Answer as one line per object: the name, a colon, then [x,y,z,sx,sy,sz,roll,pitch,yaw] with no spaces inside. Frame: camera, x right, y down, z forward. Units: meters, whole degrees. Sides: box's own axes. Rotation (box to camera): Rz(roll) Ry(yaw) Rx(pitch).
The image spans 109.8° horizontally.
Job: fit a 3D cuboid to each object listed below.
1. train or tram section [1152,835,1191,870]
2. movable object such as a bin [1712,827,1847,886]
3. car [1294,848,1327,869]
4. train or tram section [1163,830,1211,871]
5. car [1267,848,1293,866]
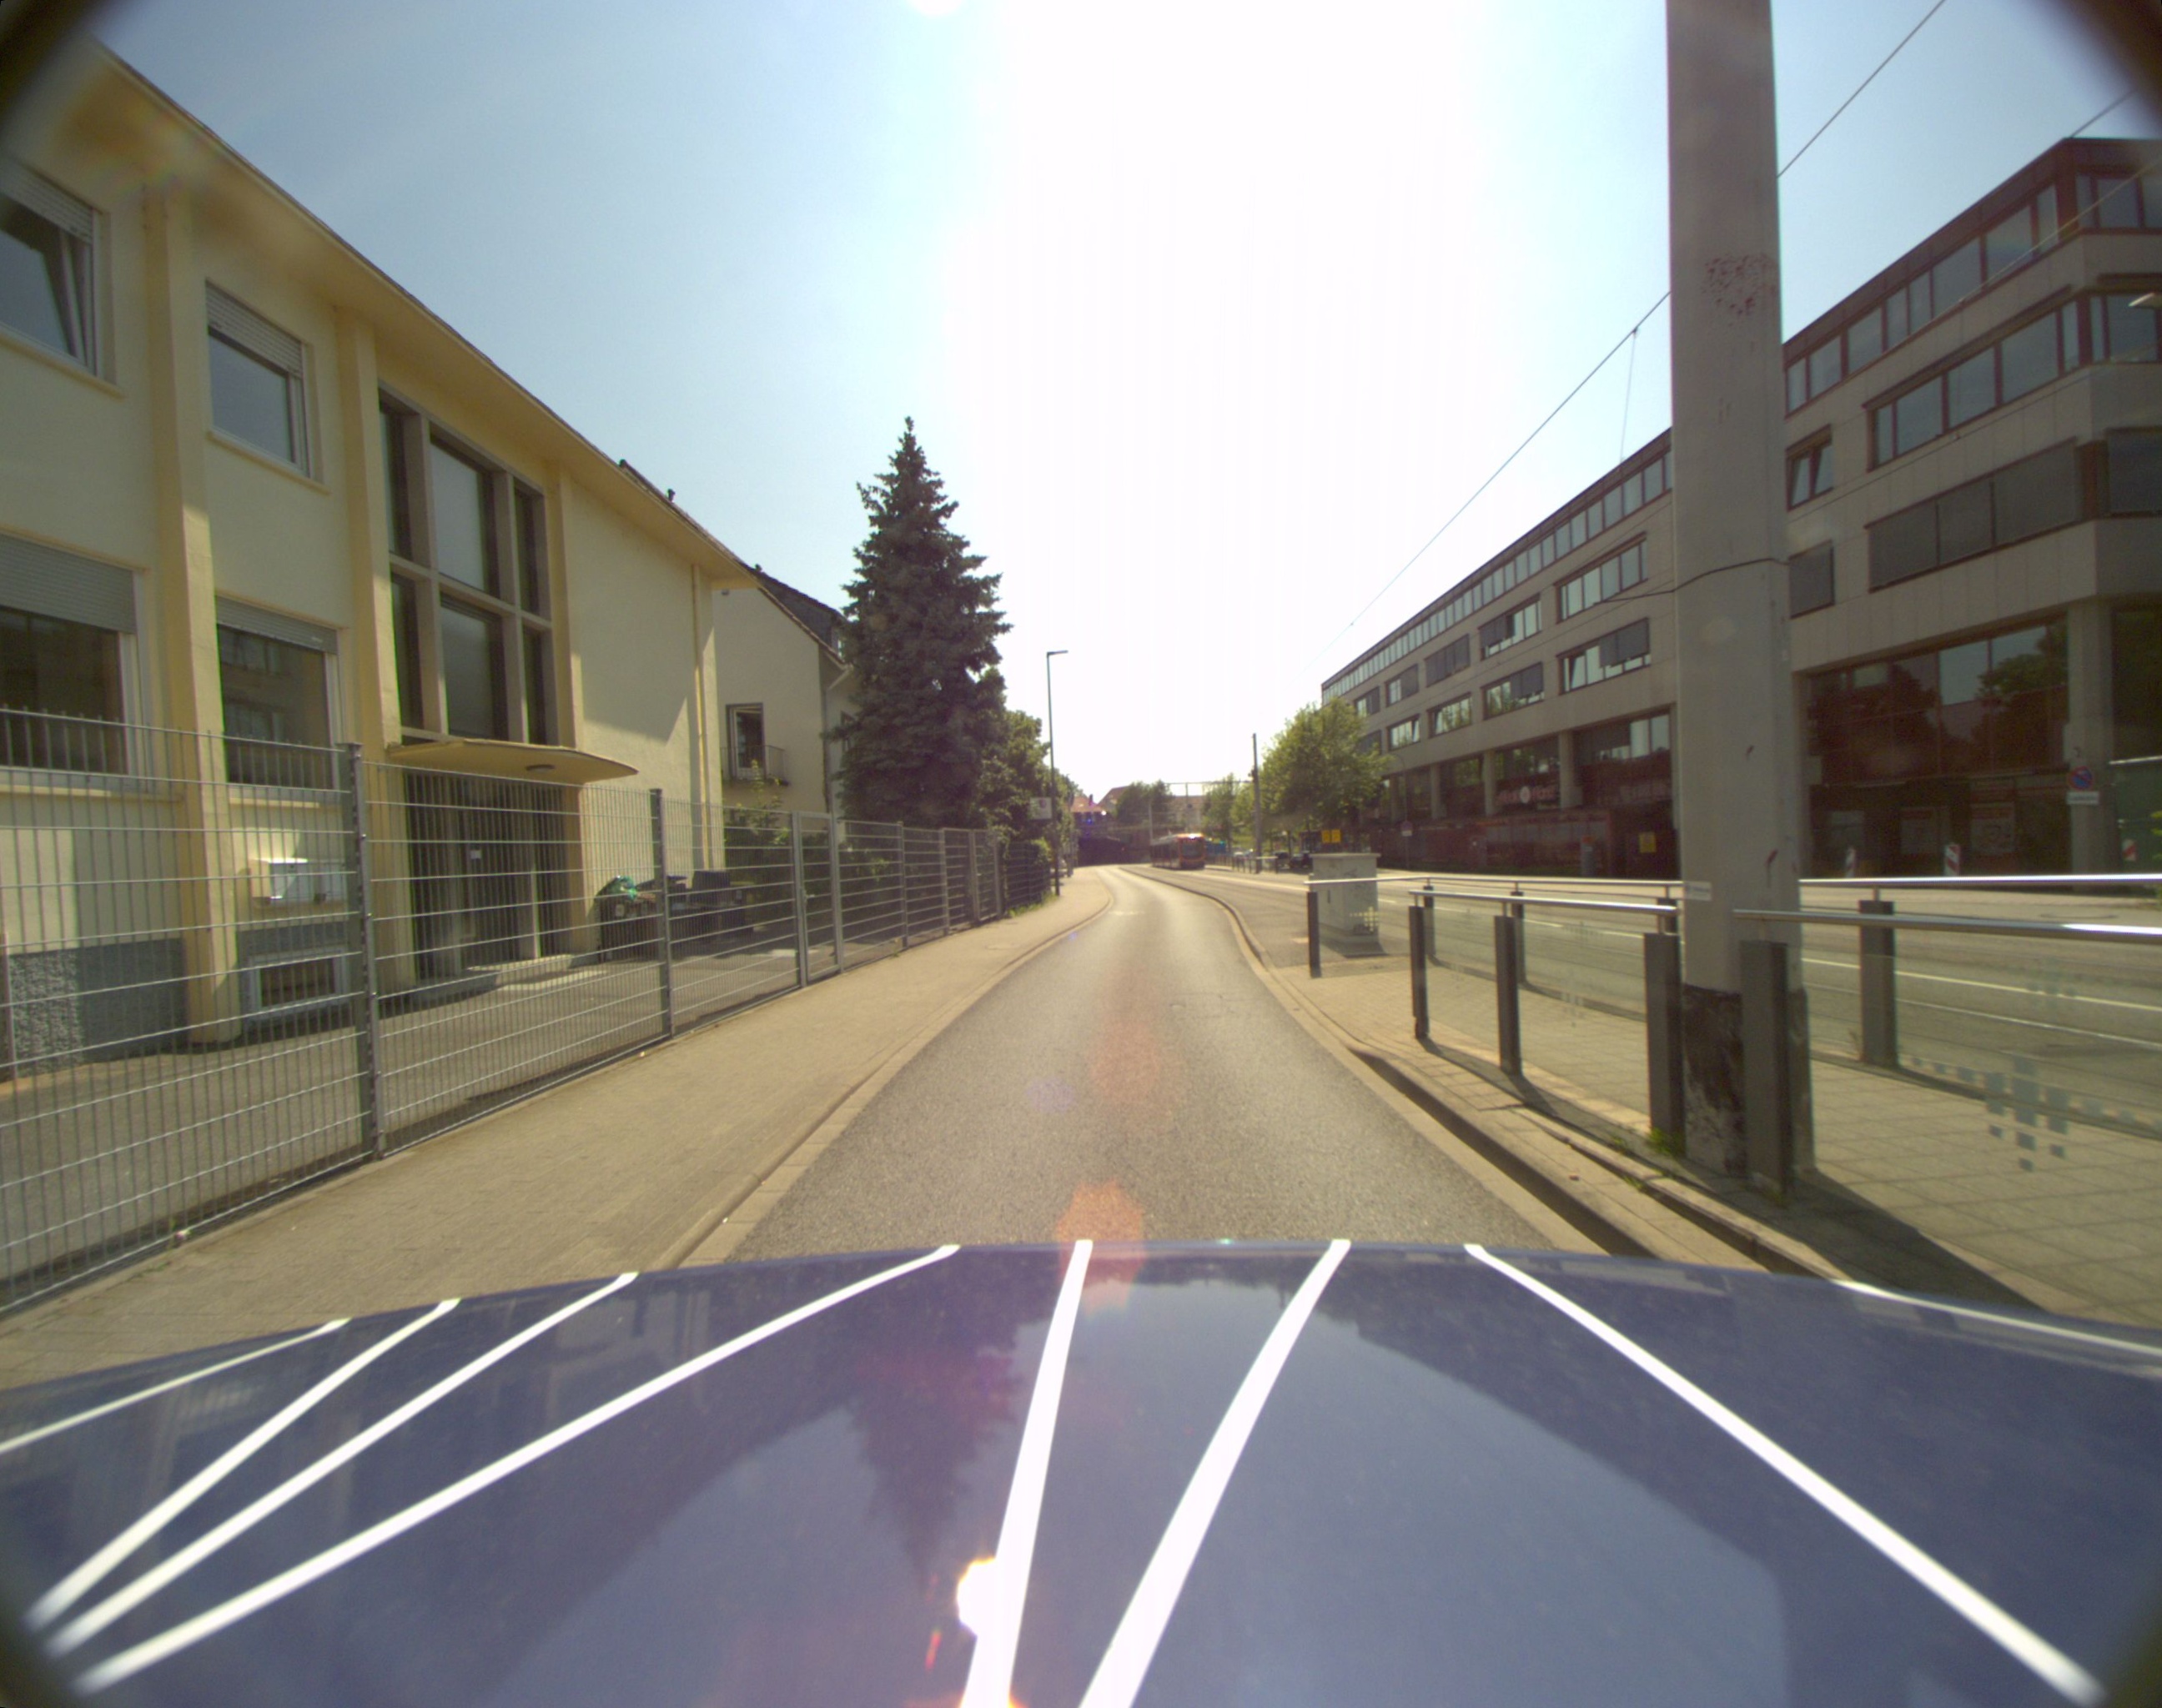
train or tram section: [9.908,-0.140,85.002,2.680,3.464,13.389,-2,0,0]
movable object such as a bin: [25.660,0.103,28.026,1.748,2.002,3.174,-3,0,-19]
car: [19.494,0.339,64.682,1.997,1.613,4.002,-2,0,8]
train or tram section: [9.886,-0.279,72.170,2.680,3.464,12.327,-3,0,0]
car: [18.842,0.264,72.202,1.870,1.608,4.002,-2,0,8]
